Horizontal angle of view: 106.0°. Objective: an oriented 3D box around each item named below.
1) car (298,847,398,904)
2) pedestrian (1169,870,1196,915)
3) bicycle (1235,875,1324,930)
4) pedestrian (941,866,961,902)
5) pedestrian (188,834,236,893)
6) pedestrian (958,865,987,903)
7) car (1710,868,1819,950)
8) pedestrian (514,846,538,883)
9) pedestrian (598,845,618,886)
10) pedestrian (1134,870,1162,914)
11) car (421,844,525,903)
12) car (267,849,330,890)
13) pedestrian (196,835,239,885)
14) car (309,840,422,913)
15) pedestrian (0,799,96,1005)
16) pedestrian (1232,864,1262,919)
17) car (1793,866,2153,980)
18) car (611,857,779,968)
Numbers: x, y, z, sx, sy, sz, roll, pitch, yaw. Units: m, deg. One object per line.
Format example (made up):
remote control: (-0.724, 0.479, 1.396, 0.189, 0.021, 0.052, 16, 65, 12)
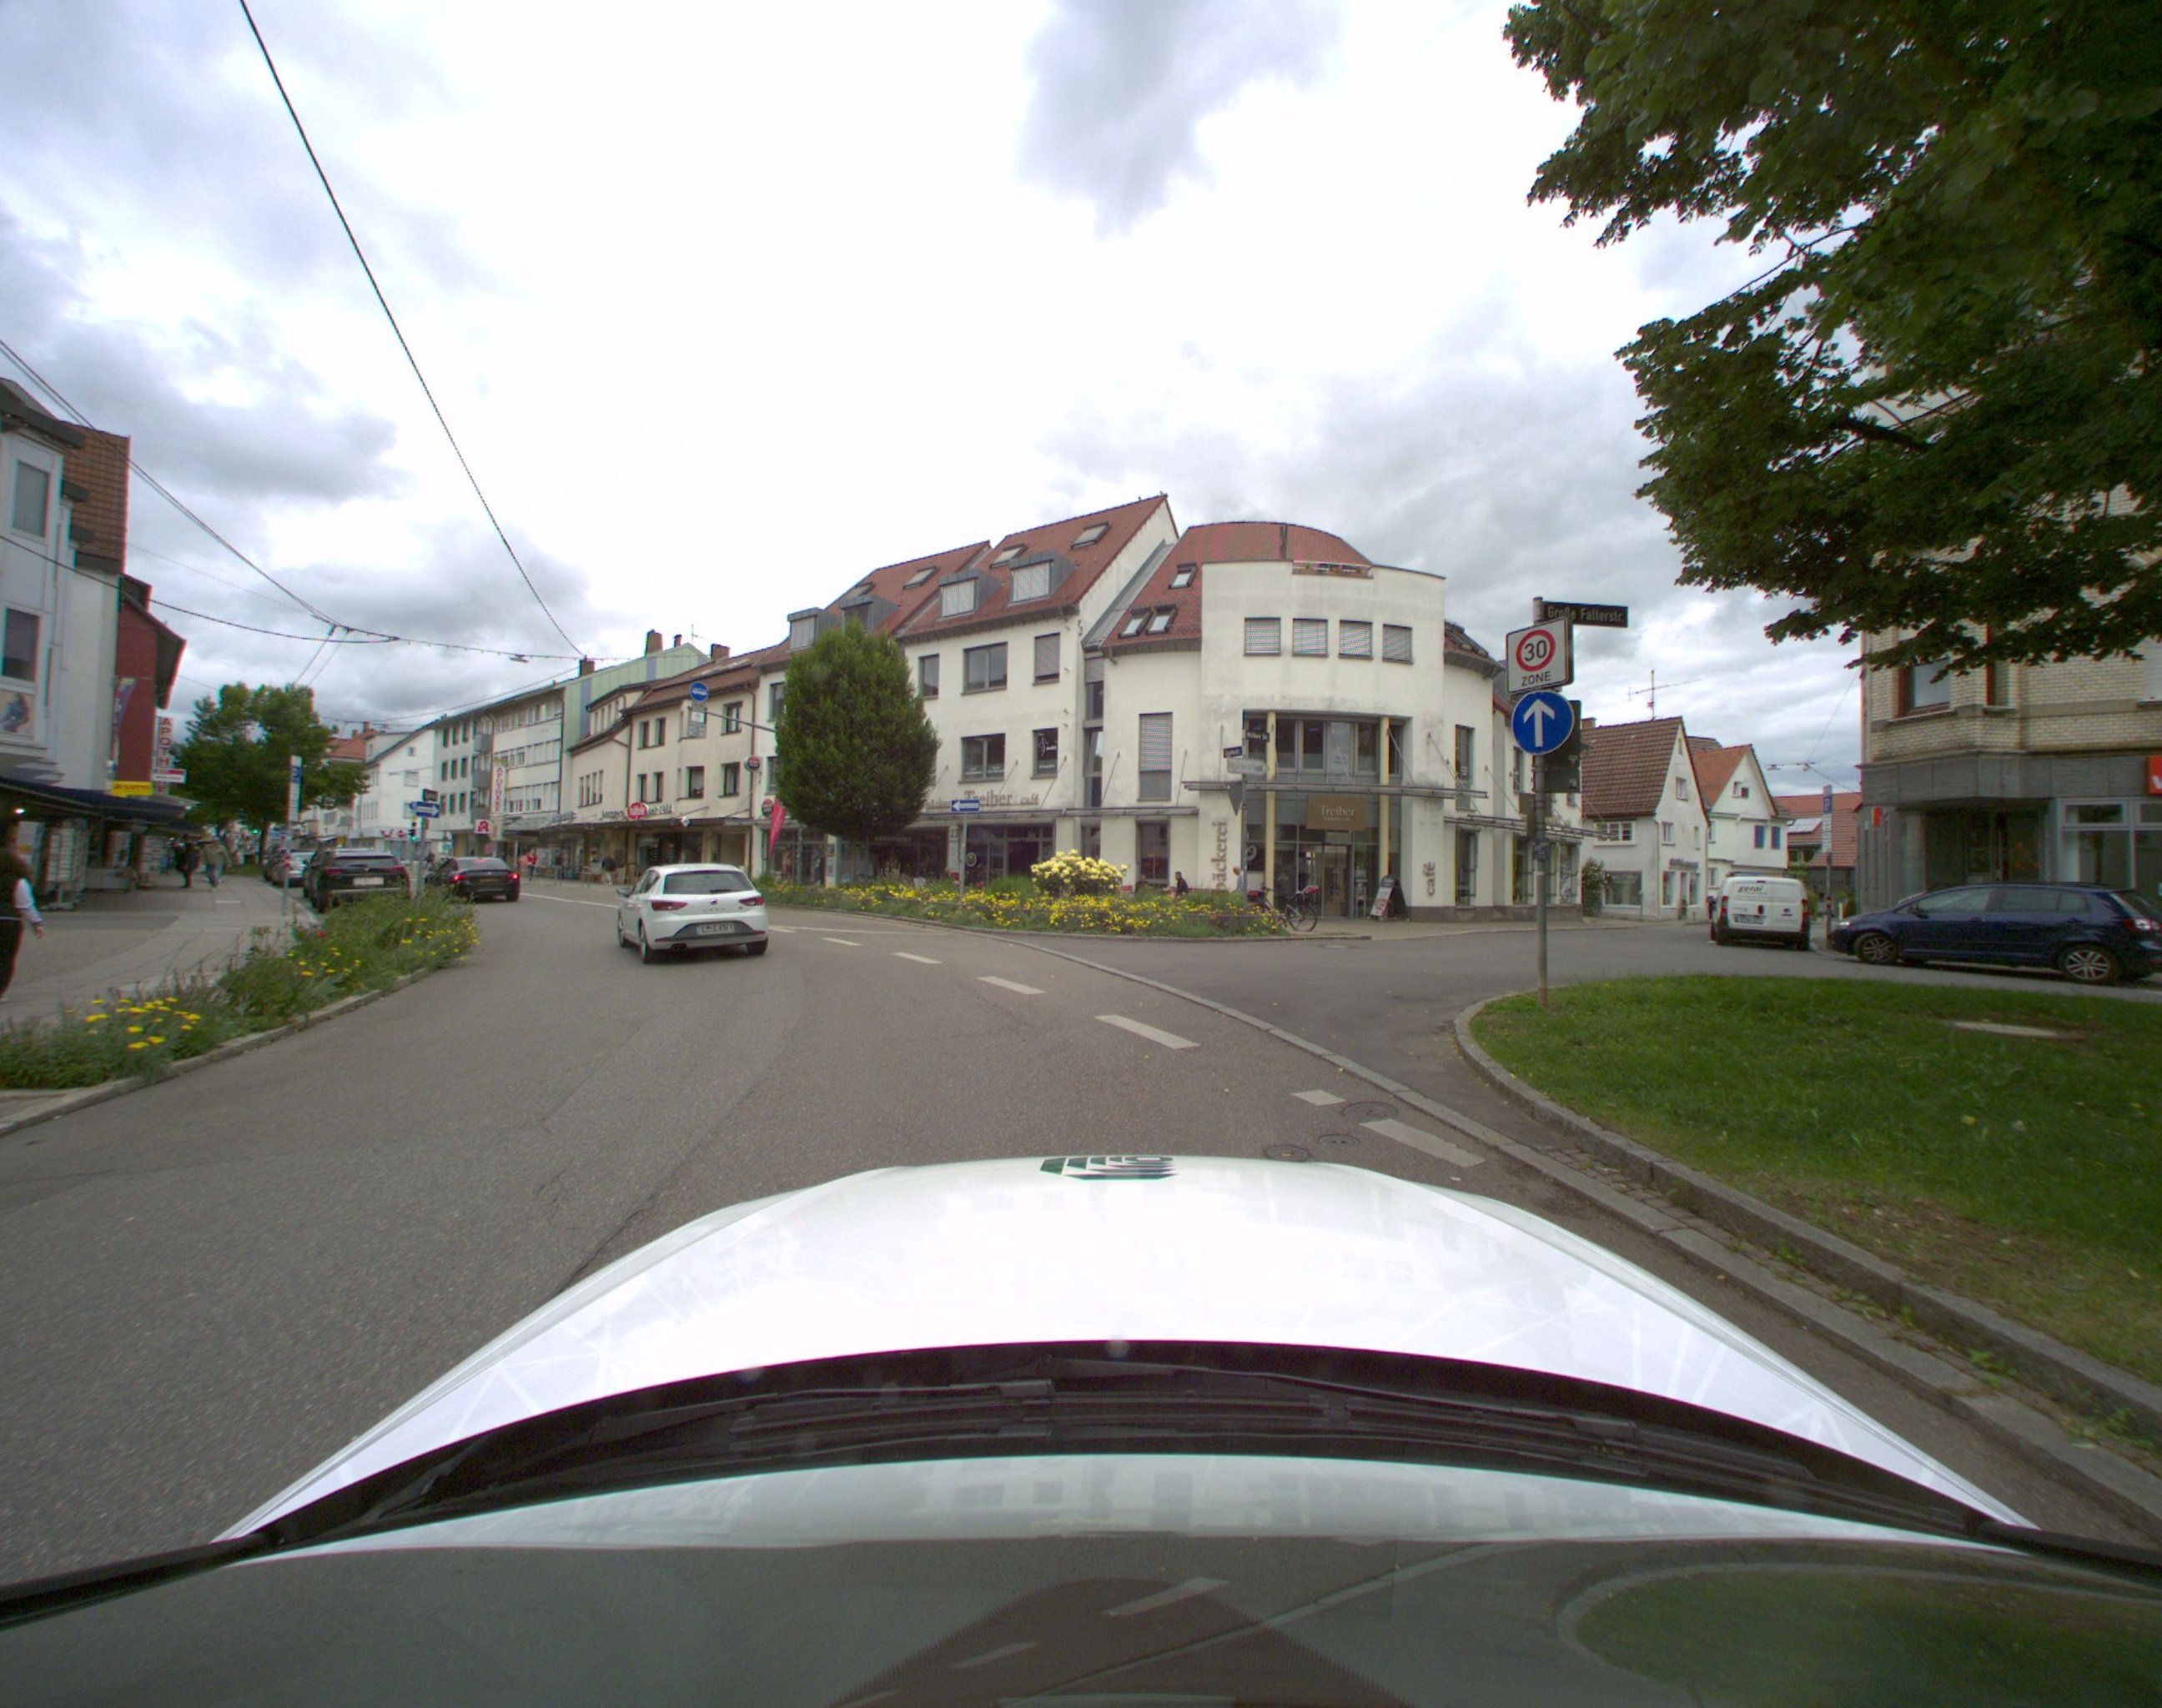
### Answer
car: (-24.391, 0.670, 27.046, 4.371, 1.732, 2.012, 0, -1, 42)
pedestrian: (3.070, 1.153, 24.600, 0.649, 1.341, 0.699, 0, -1, 20)
bicycle: (4.858, 1.161, 19.950, 1.955, 1.240, 0.749, 1, -1, 32)
pedestrian: (-4.646, 1.059, 29.134, 0.485, 1.271, 0.505, 0, -1, 33)
pedestrian: (-30.373, 0.313, 28.464, 1.001, 2.014, 1.113, 1, -1, 42)
pedestrian: (-3.783, 1.052, 28.390, 0.561, 1.318, 0.769, 0, -3, 33)
car: (17.105, 1.310, 20.557, 1.808, 1.792, 4.244, 1, -1, 36)
pedestrian: (-31.107, 0.581, 45.652, 1.035, 2.014, 0.886, 1, -1, -37)
pedestrian: (-23.804, 0.583, 40.989, 0.627, 2.014, 0.674, 0, -1, 37)
pedestrian: (2.060, 1.155, 25.059, 0.694, 1.332, 0.688, 0, -1, 20)
car: (-19.301, 0.563, 25.796, 2.053, 1.675, 4.320, 2, 0, -44)
car: (-32.896, 0.629, 34.198, 3.949, 1.622, 1.586, 0, -1, 42)
pedestrian: (-35.872, 0.248, 33.843, 1.001, 2.014, 1.113, 1, -1, 39)
car: (-19.995, 0.594, 22.695, 3.950, 1.854, 2.012, 0, -1, 44)
pedestrian: (-10.968, 0.463, 8.287, 1.001, 2.014, 1.113, 1, -1, 42)
pedestrian: (4.733, 1.061, 23.211, 0.694, 1.525, 0.871, 0, -1, 20)
car: (15.748, 1.133, 14.658, 1.865, 1.704, 3.991, 4, -2, -24)
car: (-6.437, 0.814, 13.354, 1.857, 1.434, 3.958, 1, 1, -35)
